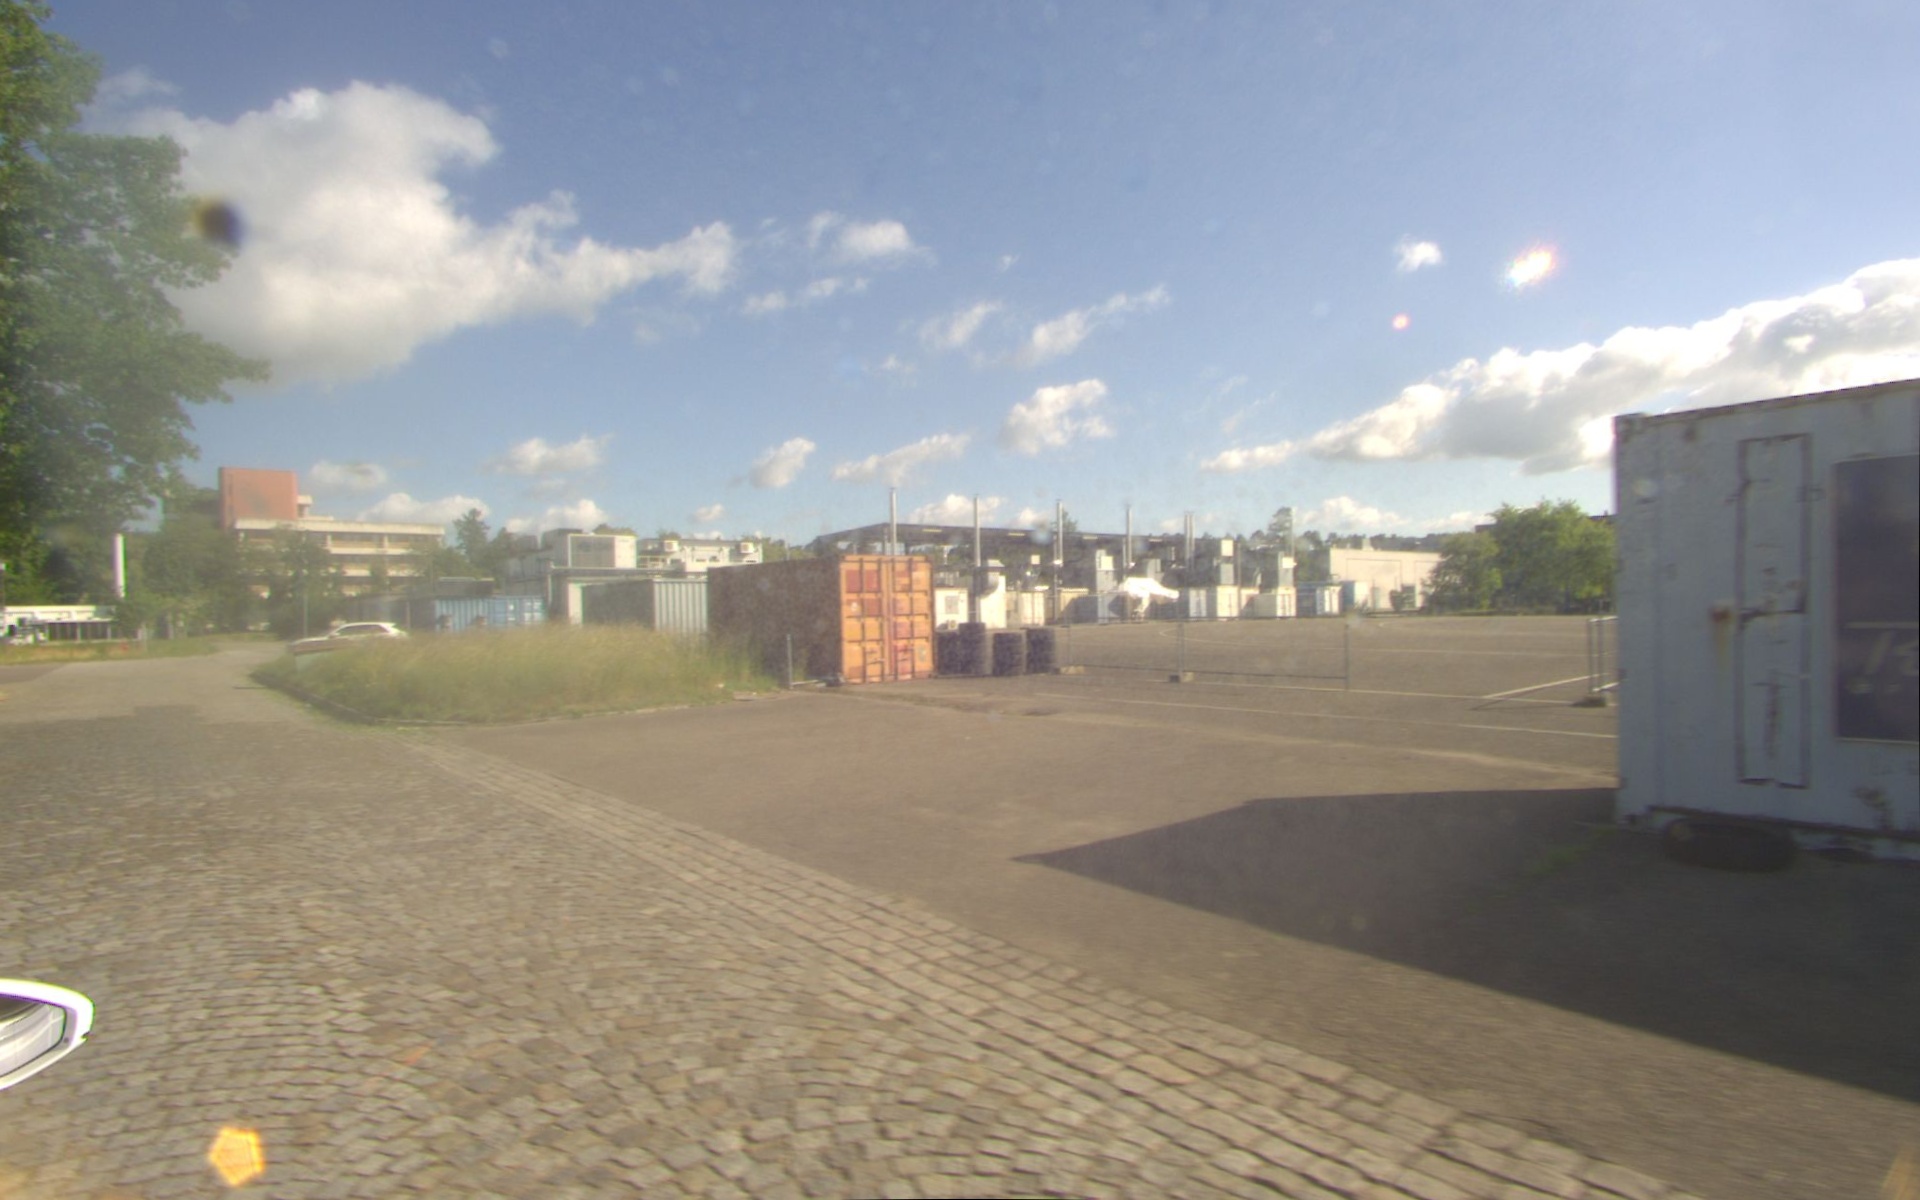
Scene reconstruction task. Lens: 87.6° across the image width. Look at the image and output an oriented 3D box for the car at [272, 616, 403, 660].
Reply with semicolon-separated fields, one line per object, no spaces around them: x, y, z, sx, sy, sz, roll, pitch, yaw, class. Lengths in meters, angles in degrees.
-26.585;1.587;42.836;4.551;1.699;1.859;-1;0;-40;car
